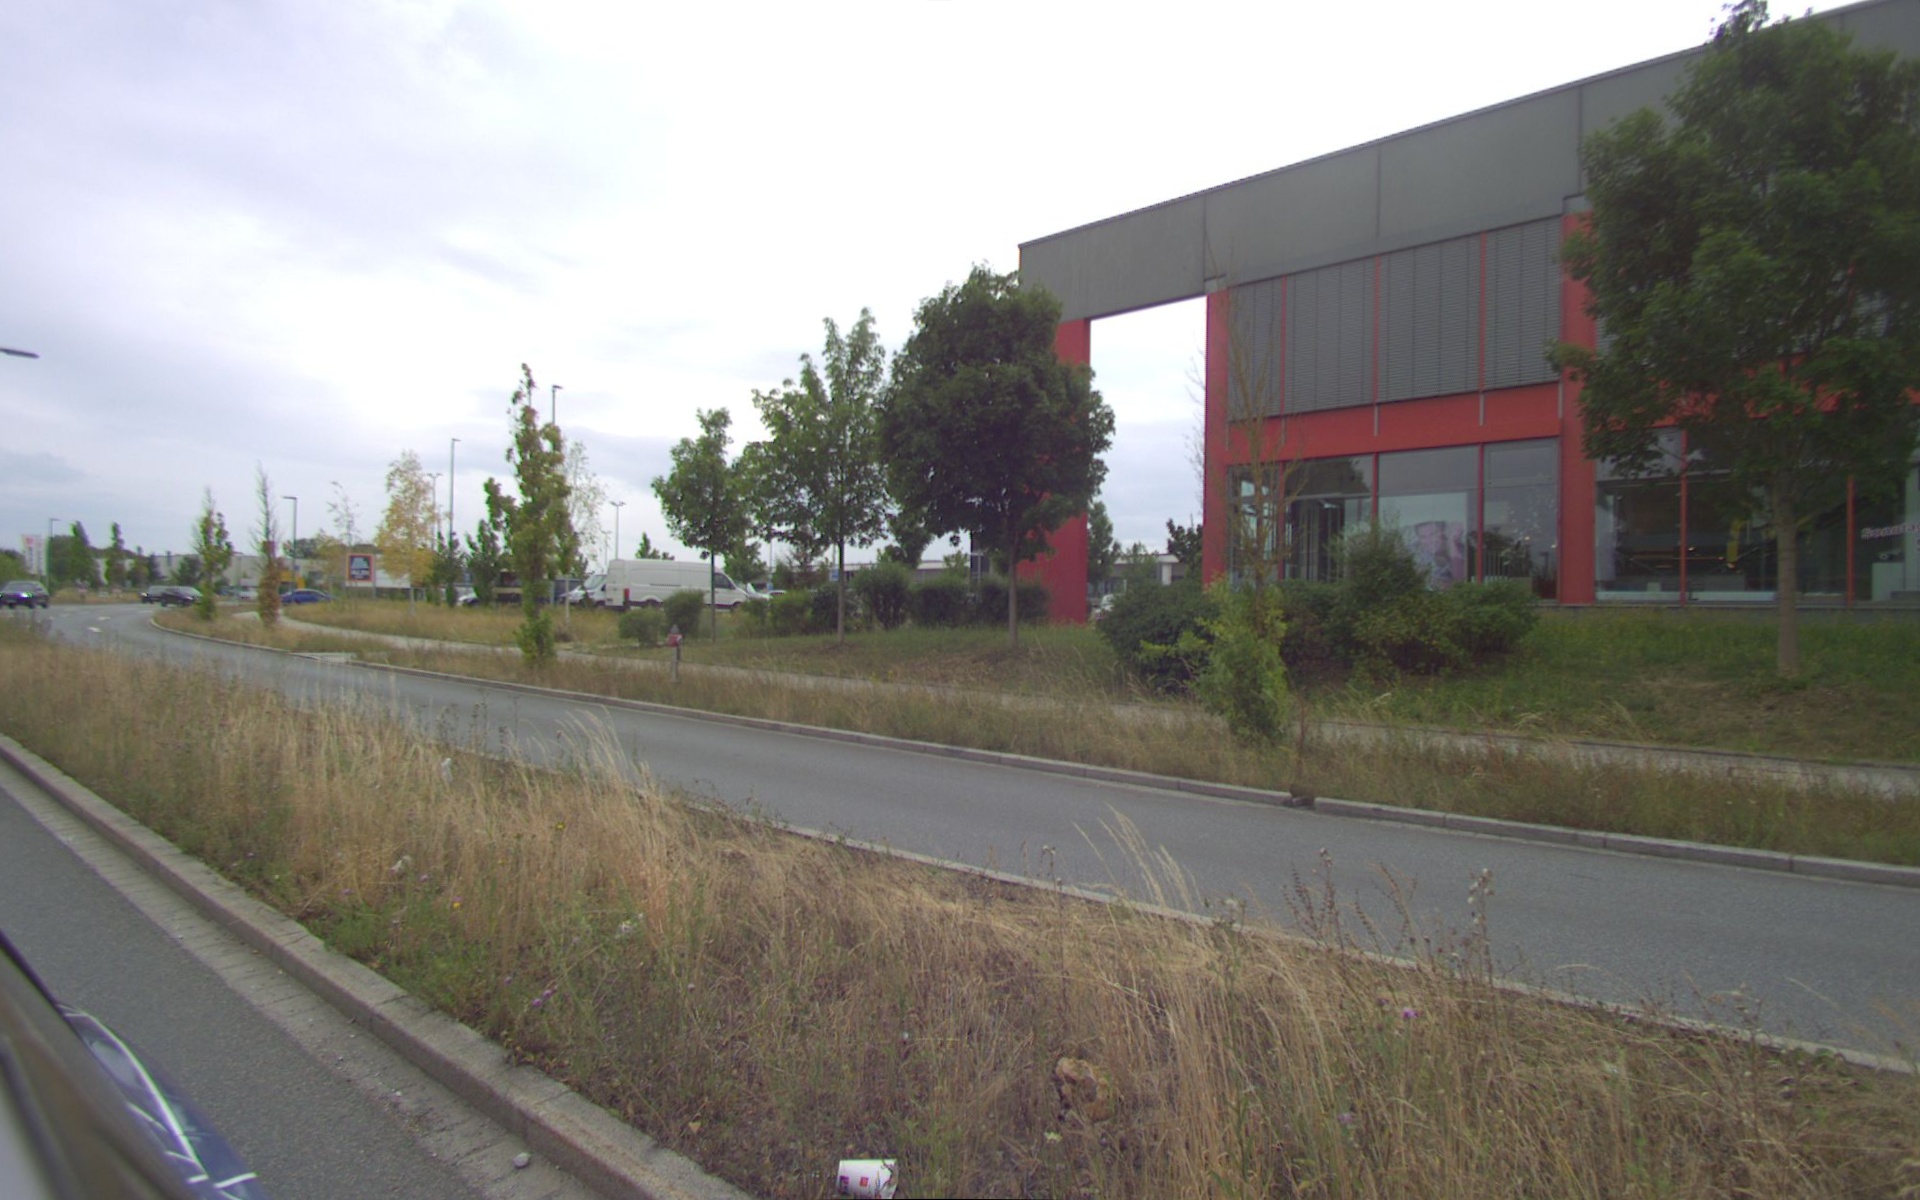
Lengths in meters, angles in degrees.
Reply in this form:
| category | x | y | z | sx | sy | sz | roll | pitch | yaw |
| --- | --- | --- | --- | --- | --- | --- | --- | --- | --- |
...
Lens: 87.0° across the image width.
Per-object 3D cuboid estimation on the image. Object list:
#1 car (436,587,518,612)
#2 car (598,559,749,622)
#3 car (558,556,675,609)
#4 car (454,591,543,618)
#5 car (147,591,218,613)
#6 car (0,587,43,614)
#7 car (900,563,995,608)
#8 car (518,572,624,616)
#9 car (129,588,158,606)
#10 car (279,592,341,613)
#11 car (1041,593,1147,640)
| category | x | y | z | sx | sy | sz | roll | pitch | yaw |
| --- | --- | --- | --- | --- | --- | --- | --- | --- | --- |
| car | -34.996 | -0.027 | 73.431 | 4.977 | 1.669 | 2.068 | 2 | -1 | -40 |
| car | -12.736 | -0.431 | 45.414 | 2.065 | 2.643 | 6.327 | 1 | 1 | 44 |
| car | -16.471 | -0.828 | 48.755 | 2.063 | 2.390 | 4.989 | 1 | 1 | 40 |
| car | -30.637 | 0.301 | 67.252 | 4.977 | 1.669 | 2.068 | 2 | -1 | -40 |
| car | -59.170 | 0.134 | 77.112 | 3.930 | 1.586 | 2.007 | 0 | 1 | -22 |
| car | -57.423 | 0.003 | 61.763 | 1.968 | 1.586 | 4.008 | 0 | 1 | -39 |
| car | -0.732 | -0.827 | 55.710 | 5.048 | 2.390 | 2.039 | 1 | 1 | 36 |
| car | -21.116 | -0.283 | 55.092 | 4.980 | 2.240 | 2.067 | 2 | -1 | -43 |
| car | -74.441 | -0.312 | 92.270 | 1.968 | 1.586 | 4.008 | 0 | 1 | -39 |
| car | -51.100 | 0.193 | 79.603 | 3.935 | 1.524 | 1.738 | 2 | -1 | -38 |
| car | 3.893 | 0.445 | 29.527 | 2.860 | 1.279 | 1.245 | 1 | 1 | 41 |
